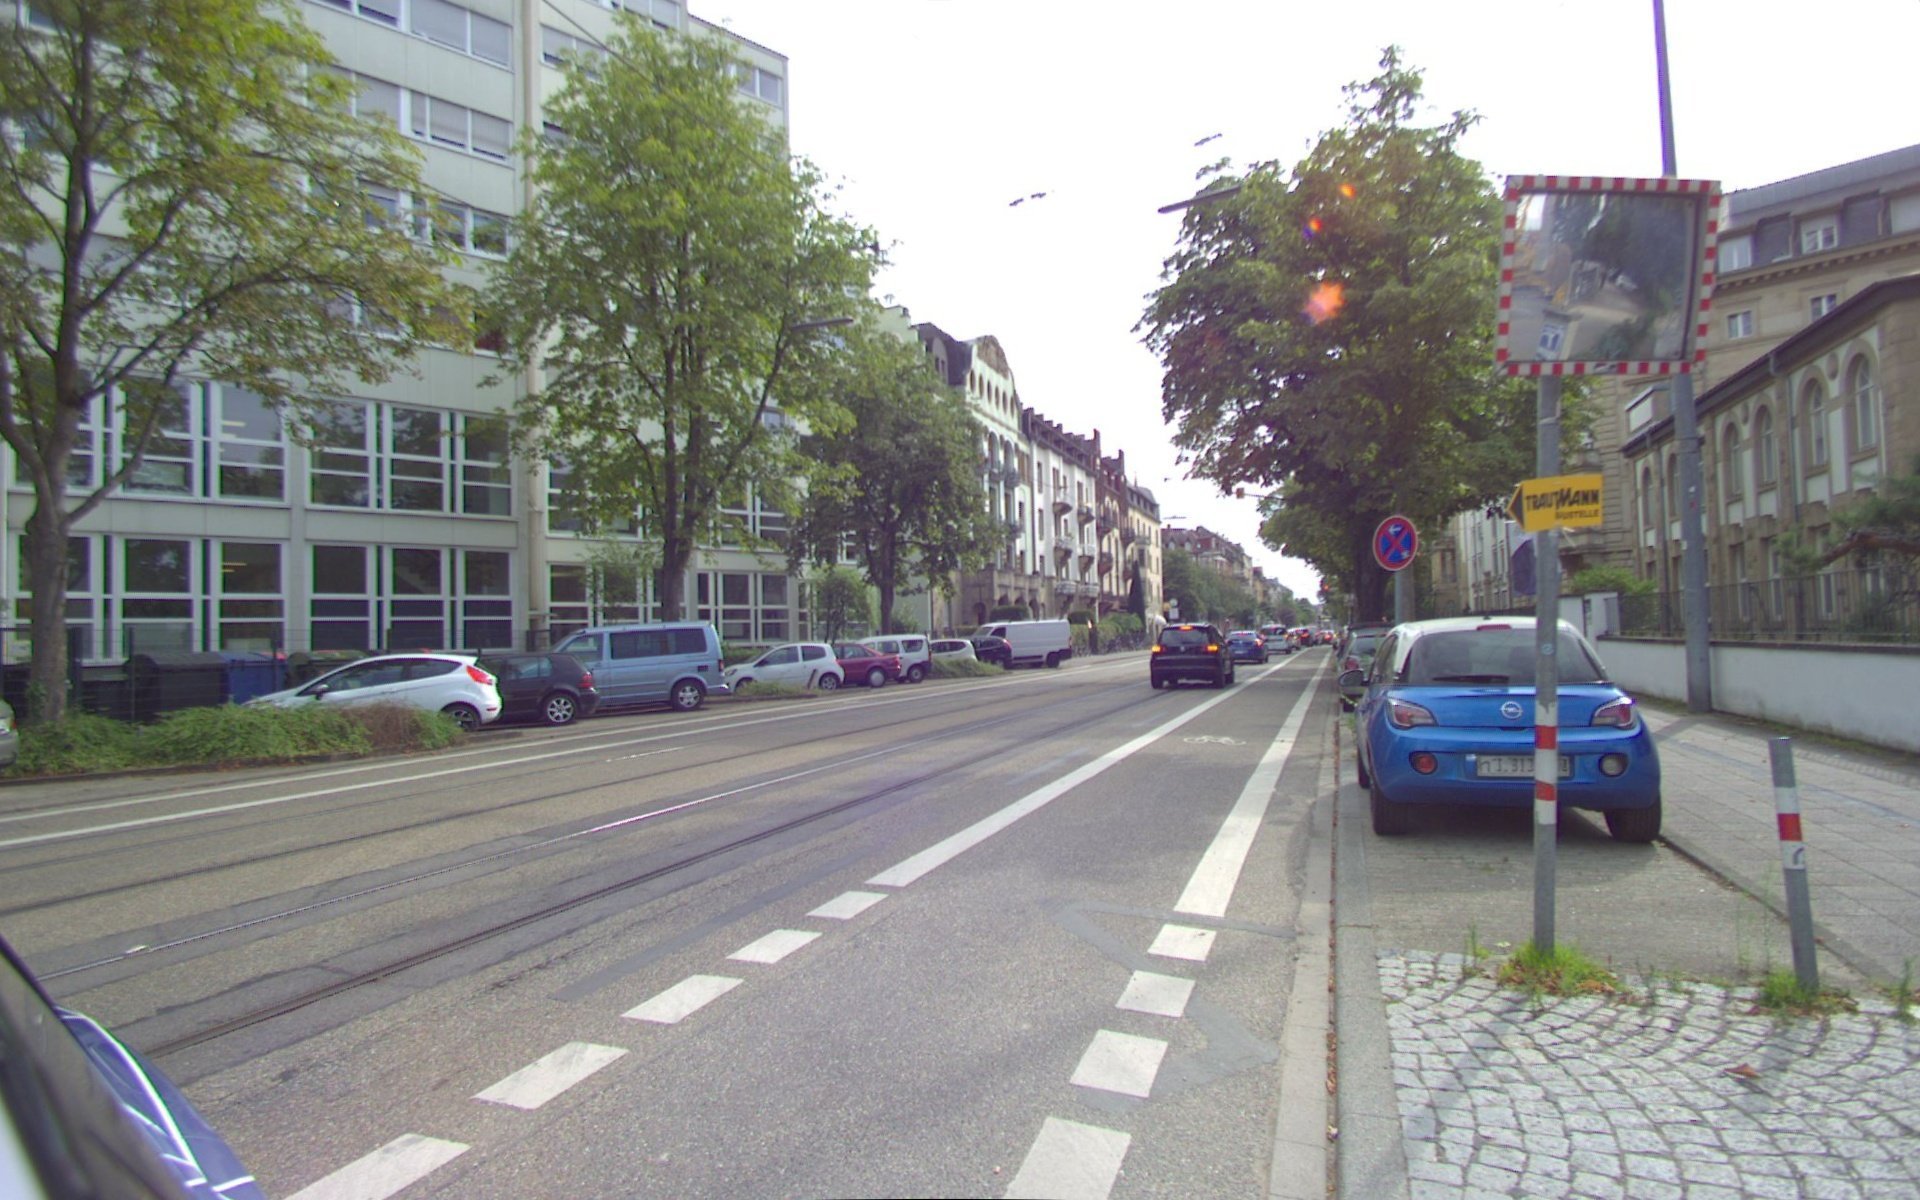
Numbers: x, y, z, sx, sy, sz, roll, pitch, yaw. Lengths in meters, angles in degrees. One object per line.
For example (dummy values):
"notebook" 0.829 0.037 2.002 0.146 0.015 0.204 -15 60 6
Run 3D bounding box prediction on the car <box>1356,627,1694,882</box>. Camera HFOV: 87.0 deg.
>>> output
"car" 4.062 1.004 7.874 1.621 1.476 3.578 -3 -3 19

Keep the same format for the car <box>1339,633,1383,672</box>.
"car" 18.212 2.392 46.080 1.647 1.646 3.880 -3 -3 19

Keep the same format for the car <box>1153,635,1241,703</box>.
"car" 6.390 1.775 26.974 1.725 1.641 4.347 -2 -3 21

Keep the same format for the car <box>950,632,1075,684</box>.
"car" 2.441 2.682 47.277 5.345 2.192 2.155 -1 -3 -21

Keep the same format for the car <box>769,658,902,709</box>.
"car" -3.876 2.555 31.410 3.705 1.349 1.820 -1 -3 -21

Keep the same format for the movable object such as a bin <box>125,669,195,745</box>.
"movable object such as a bin" -17.817 2.366 22.542 1.156 1.580 1.181 1 -4 -41

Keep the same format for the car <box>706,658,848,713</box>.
"car" -5.169 2.367 28.537 3.582 1.340 1.773 -1 -3 -25

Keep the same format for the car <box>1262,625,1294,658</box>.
"car" 19.579 2.549 62.250 1.724 1.899 4.350 -3 -3 19

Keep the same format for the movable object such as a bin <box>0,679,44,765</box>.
"movable object such as a bin" -16.481 2.100 17.448 1.024 1.418 0.899 -5 -4 42

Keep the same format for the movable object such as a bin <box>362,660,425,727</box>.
"movable object such as a bin" -14.304 2.337 25.545 1.156 1.580 1.181 1 -4 -41

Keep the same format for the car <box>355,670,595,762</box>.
"car" -9.088 2.143 19.178 3.904 1.398 1.820 -1 -5 -25

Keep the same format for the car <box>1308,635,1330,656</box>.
"car" 33.845 4.283 95.357 1.787 1.838 4.647 -3 -3 19

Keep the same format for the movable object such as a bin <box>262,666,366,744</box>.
"movable object such as a bin" -13.524 2.185 21.209 1.327 1.514 1.343 -3 -3 24

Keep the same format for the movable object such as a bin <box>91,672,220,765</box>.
"movable object such as a bin" -14.593 2.127 18.386 1.323 1.541 1.404 -3 -3 24

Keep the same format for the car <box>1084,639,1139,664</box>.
"car" 11.101 3.766 74.193 3.589 1.688 1.770 -2 -2 -5

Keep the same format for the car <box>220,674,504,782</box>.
"car" -9.508 1.991 16.431 3.795 1.403 1.639 -1 -3 -26

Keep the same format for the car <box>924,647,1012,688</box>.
"car" 0.330 2.914 44.000 3.589 1.601 1.770 -2 -2 -5

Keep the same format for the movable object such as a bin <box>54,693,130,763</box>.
"movable object such as a bin" -14.717 2.159 17.170 0.782 1.114 0.736 -4 -3 26

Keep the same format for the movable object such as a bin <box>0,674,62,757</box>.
"movable object such as a bin" -19.092 2.335 20.538 1.174 1.580 1.163 -5 -4 42

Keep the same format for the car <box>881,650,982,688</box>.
"car" -1.128 2.731 40.430 3.582 1.340 1.773 -1 -3 -25

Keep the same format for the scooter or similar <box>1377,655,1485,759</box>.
"scooter or similar" 5.589 1.279 12.044 0.364 1.176 1.005 1 -7 -45

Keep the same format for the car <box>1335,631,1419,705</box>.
"car" 10.200 1.634 24.978 1.647 1.646 3.700 -3 -3 19

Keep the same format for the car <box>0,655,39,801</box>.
"car" -12.083 1.402 10.090 3.982 1.549 1.601 -1 -3 -25

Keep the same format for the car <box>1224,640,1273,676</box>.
"car" 13.006 2.574 45.465 1.725 1.508 4.348 -3 -3 20

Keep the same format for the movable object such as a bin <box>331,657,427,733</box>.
"movable object such as a bin" -12.925 2.104 22.552 1.327 1.608 1.343 -3 -3 24

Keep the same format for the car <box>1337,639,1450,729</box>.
"car" 7.951 1.496 18.832 1.621 1.476 3.550 -3 -3 19

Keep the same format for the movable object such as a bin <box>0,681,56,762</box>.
"movable object such as a bin" -17.322 2.213 18.480 1.063 1.402 1.103 -5 -4 42

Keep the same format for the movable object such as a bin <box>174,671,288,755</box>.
"movable object such as a bin" -14.231 2.193 19.781 1.327 1.515 1.326 -3 -3 24

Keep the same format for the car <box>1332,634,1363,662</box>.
"car" 24.547 3.018 64.171 1.647 1.646 3.880 -3 -3 19

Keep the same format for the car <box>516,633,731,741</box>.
"car" -7.437 1.866 22.373 4.271 2.080 2.006 -1 -3 -25

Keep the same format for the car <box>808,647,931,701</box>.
"car" -3.066 2.462 34.147 3.705 1.630 1.820 -1 -3 -21

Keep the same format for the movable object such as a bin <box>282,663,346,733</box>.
"movable object such as a bin" -15.605 2.349 24.444 1.156 1.580 1.181 1 -4 -41

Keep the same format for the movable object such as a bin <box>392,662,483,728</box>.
"movable object such as a bin" -12.366 2.236 23.982 1.327 1.470 1.388 -3 -3 24
